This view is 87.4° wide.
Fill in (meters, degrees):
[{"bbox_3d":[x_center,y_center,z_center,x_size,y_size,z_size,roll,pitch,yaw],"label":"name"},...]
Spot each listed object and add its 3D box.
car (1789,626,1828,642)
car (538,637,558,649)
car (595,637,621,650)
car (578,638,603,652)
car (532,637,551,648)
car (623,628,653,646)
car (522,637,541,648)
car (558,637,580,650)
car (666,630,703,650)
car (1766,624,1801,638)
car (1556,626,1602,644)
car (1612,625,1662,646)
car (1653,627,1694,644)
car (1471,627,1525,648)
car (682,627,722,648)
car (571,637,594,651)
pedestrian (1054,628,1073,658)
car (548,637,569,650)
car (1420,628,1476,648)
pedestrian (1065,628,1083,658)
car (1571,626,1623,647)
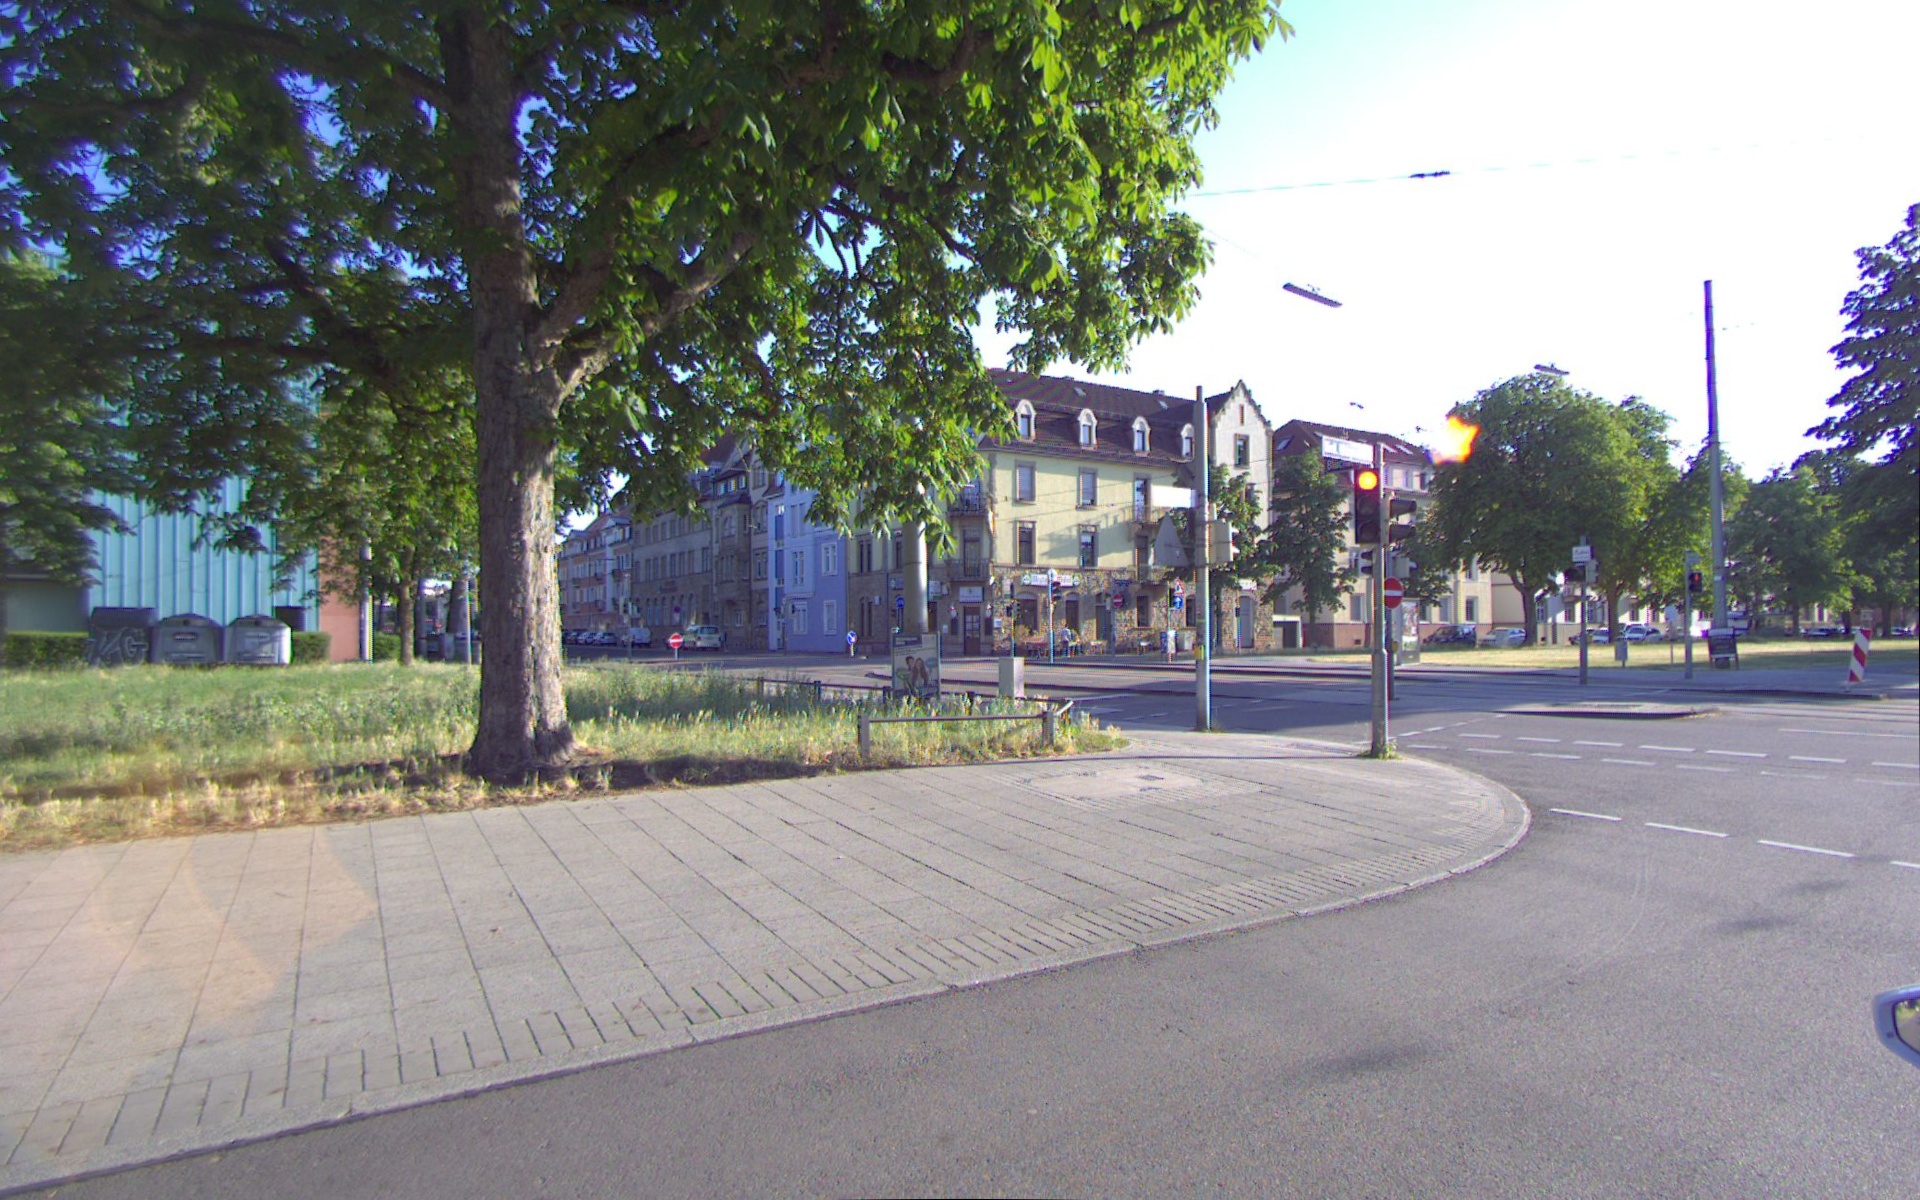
[{"bbox_3d":[80.209,3.206,94.968,3.749,1.446,1.729,1,-1,-31],"label":"car"},{"bbox_3d":[-52.274,5.480,127.343,1.867,1.433,4.013,1,-2,-29],"label":"car"},{"bbox_3d":[-36.447,4.479,103.874,1.867,1.299,4.013,1,-2,-29],"label":"car"},{"bbox_3d":[-39.904,4.832,108.394,1.867,1.433,4.013,1,-2,-29],"label":"car"},{"bbox_3d":[-54.657,5.566,131.099,1.867,1.433,4.013,1,-2,-29],"label":"car"},{"bbox_3d":[-30.159,3.493,94.079,1.888,1.610,4.013,2,-2,-29],"label":"car"},{"bbox_3d":[-57.586,5.643,134.900,1.867,1.433,4.013,1,-2,-29],"label":"car"},{"bbox_3d":[-45.919,5.117,117.868,1.867,1.433,4.013,1,-2,-29],"label":"car"},{"bbox_3d":[-22.809,3.321,83.113,2.074,1.612,4.014,2,-2,-29],"label":"car"},{"bbox_3d":[86.170,3.231,105.123,3.749,1.446,1.729,1,-1,-31],"label":"car"},{"bbox_3d":[51.995,2.910,84.366,3.749,1.446,1.729,1,-2,-31],"label":"car"},{"bbox_3d":[51.249,2.708,76.082,3.748,1.446,1.729,-1,-1,-31],"label":"car"},{"bbox_3d":[65.843,3.264,92.722,3.749,1.446,1.729,1,-2,-31],"label":"car"},{"bbox_3d":[40.810,2.800,76.247,3.741,1.446,1.733,-1,0,-26],"label":"car"},{"bbox_3d":[-20.127,2.925,78.396,2.074,1.612,4.014,2,-2,-29],"label":"car"},{"bbox_3d":[-42.642,4.968,113.518,1.867,1.433,4.013,1,-2,-29],"label":"car"},{"bbox_3d":[5.785,2.391,56.295,0.804,1.664,0.722,0,-1,-23],"label":"pedestrian"},{"bbox_3d":[-48.952,5.298,122.377,1.867,1.433,4.013,1,-2,-29],"label":"car"},{"bbox_3d":[35.432,2.749,72.879,3.741,1.416,1.733,1,-2,-26],"label":"car"},{"bbox_3d":[6.463,2.409,56.879,0.715,1.664,0.811,0,-1,-23],"label":"pedestrian"},{"bbox_3d":[46.226,2.625,72.903,3.749,1.446,1.729,0,-1,-31],"label":"car"}]
